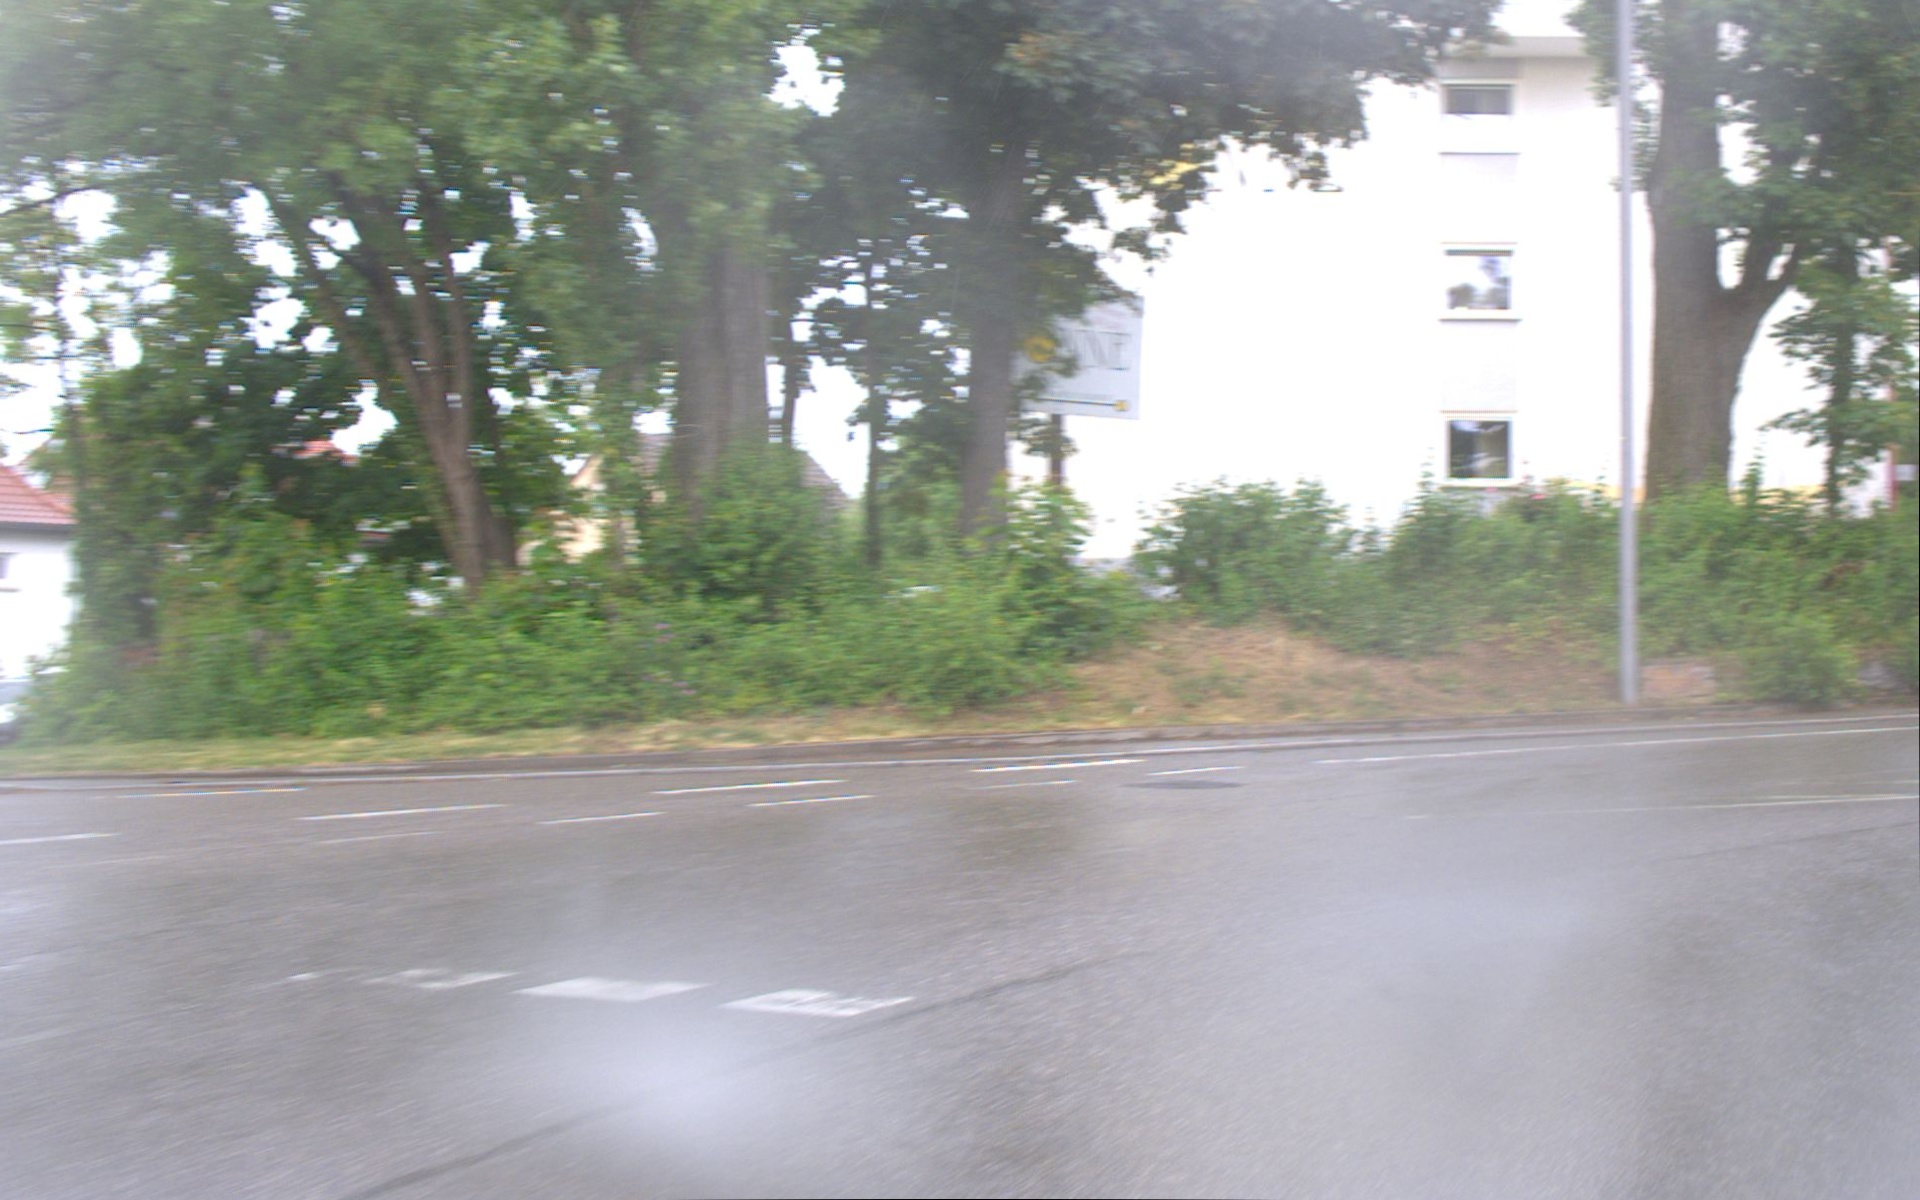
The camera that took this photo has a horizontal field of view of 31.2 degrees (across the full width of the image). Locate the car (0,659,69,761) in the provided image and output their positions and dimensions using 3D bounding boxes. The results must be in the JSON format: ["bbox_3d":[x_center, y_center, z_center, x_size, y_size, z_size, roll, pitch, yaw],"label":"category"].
[{"bbox_3d":[-15.458,1.702,53.366,1.994,1.503,3.999,-1,0,4],"label":"car"}]
